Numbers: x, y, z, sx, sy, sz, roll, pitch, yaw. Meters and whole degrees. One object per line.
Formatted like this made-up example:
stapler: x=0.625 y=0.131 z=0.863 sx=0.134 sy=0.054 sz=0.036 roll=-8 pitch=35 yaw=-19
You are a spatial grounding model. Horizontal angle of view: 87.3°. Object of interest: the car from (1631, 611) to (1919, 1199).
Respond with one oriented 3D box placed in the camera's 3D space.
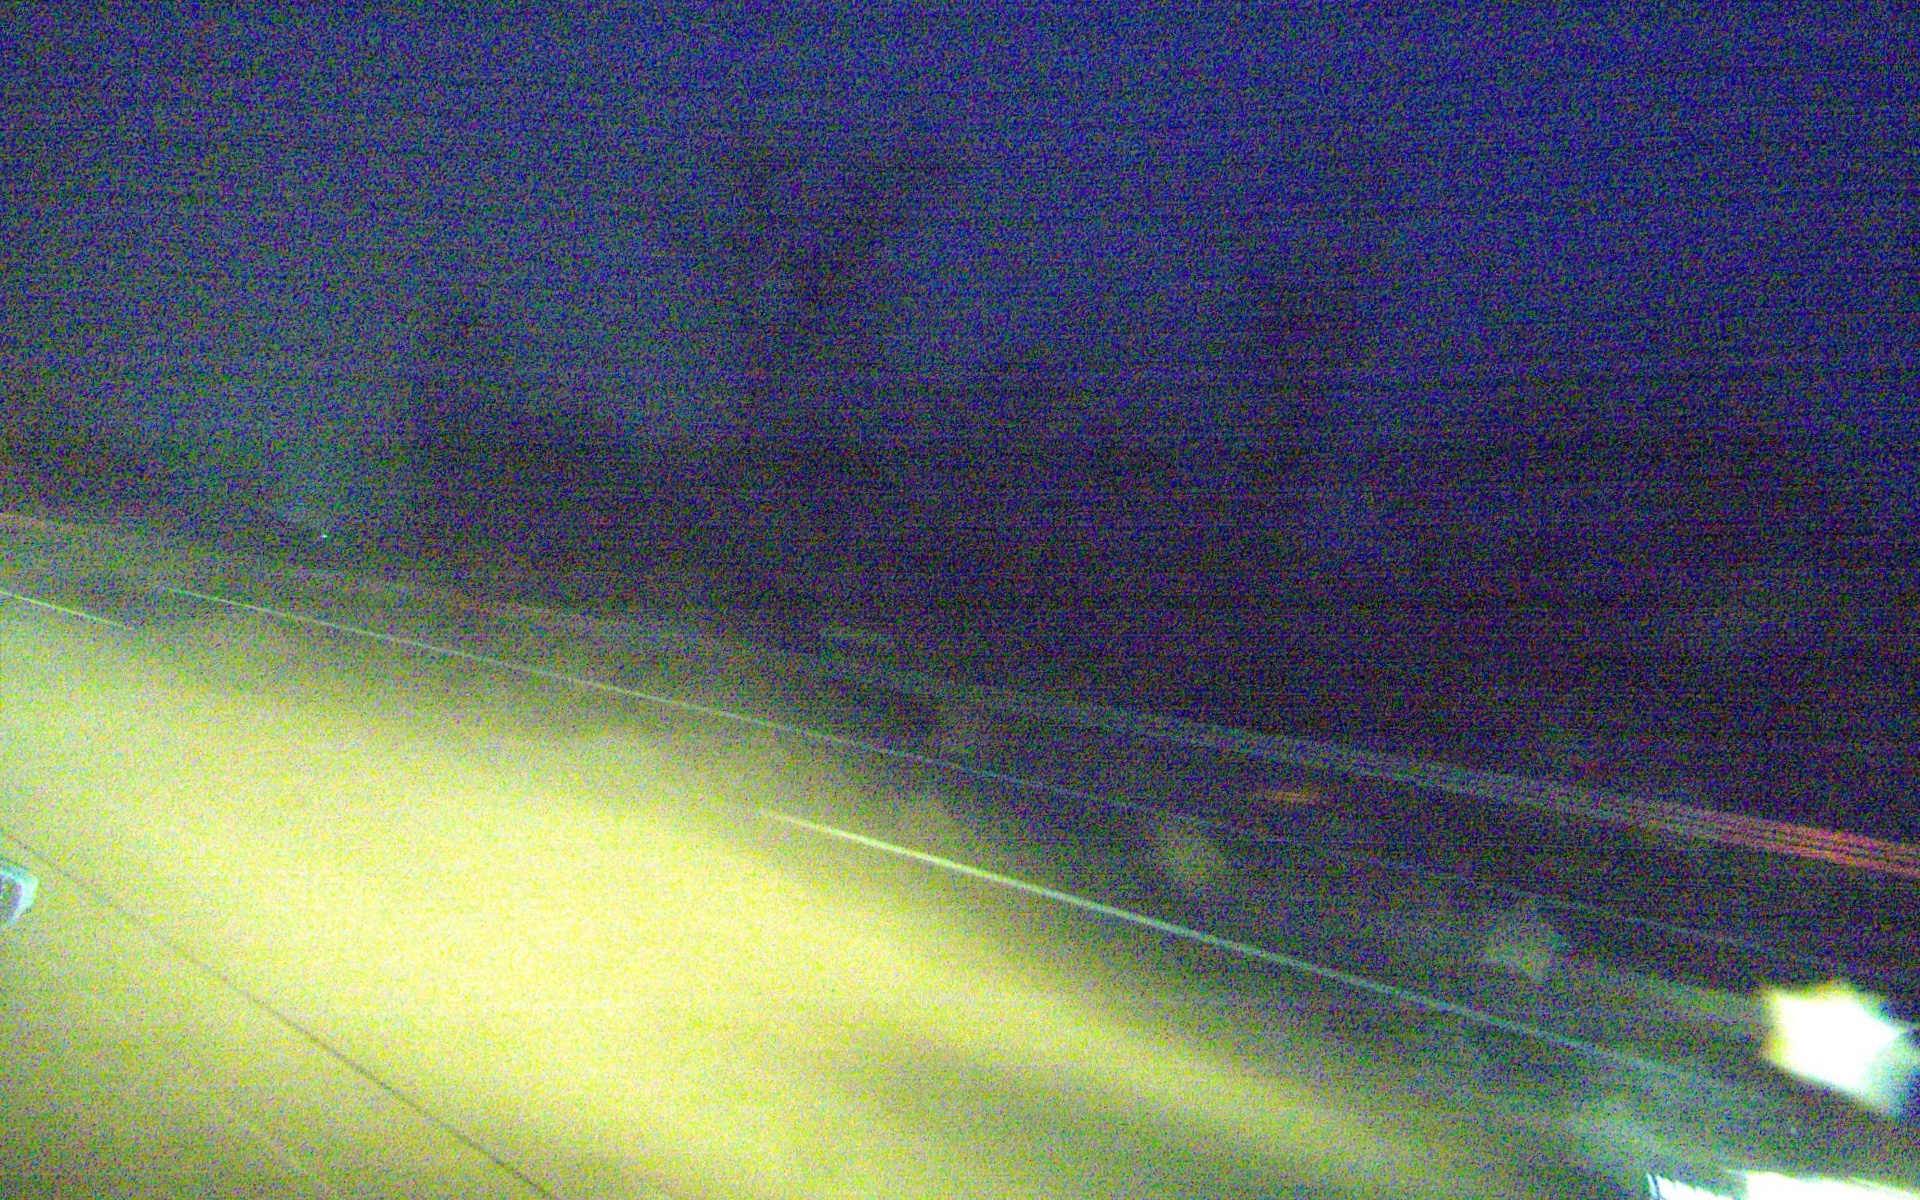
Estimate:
car: x=3.459 y=1.154 z=1.186 sx=4.186 sy=1.636 sz=1.805 roll=7 pitch=-2 yaw=32
